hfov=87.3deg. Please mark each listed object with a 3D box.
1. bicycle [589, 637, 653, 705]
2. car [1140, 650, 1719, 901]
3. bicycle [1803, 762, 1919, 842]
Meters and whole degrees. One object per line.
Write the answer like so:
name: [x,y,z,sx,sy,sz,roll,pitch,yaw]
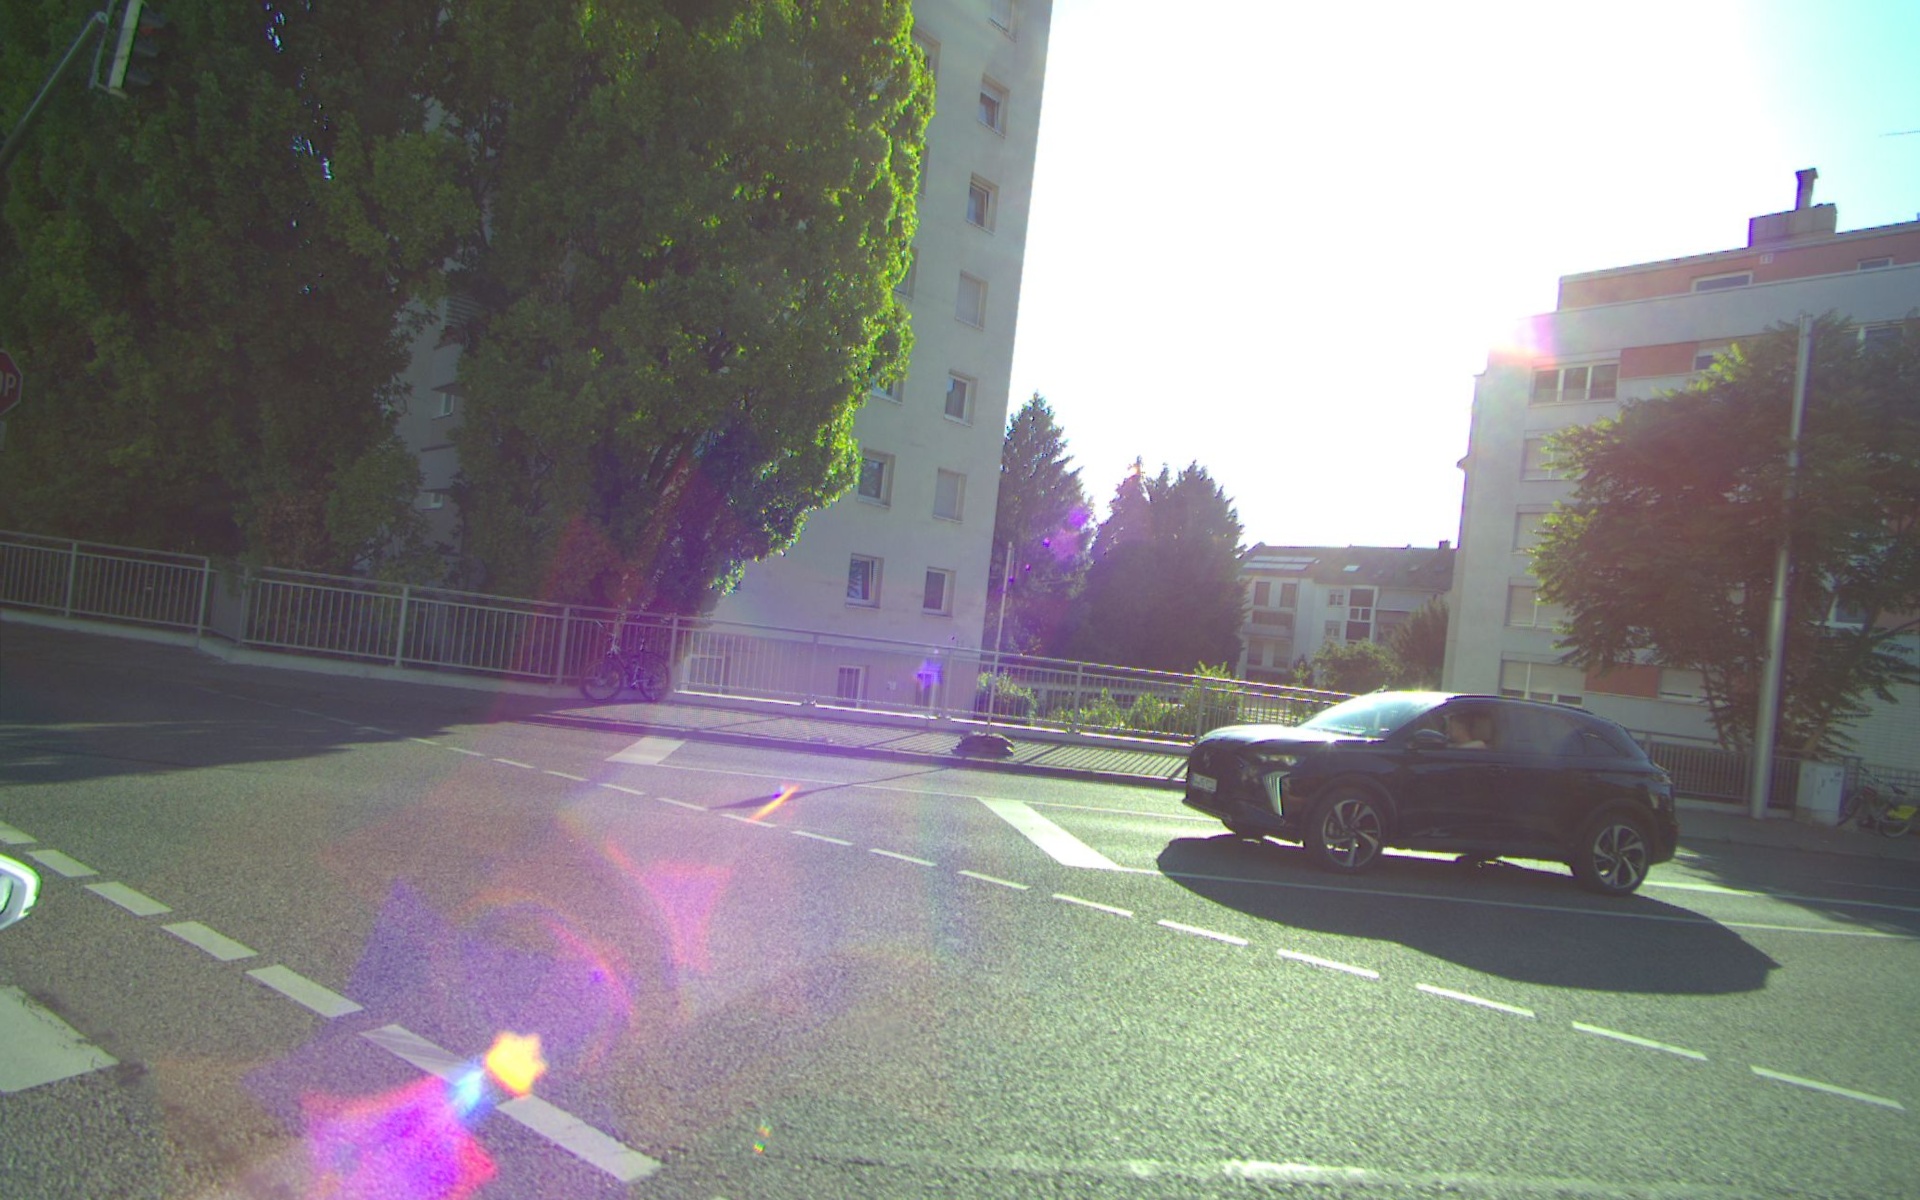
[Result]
bicycle: [-5.038,1.043,15.013,0.402,0.913,1.289,8,-2,0]
car: [4.291,1.593,9.464,4.589,1.687,1.999,8,-4,-12]
bicycle: [16.976,3.786,18.814,2.302,1.191,0.709,9,-2,-19]
